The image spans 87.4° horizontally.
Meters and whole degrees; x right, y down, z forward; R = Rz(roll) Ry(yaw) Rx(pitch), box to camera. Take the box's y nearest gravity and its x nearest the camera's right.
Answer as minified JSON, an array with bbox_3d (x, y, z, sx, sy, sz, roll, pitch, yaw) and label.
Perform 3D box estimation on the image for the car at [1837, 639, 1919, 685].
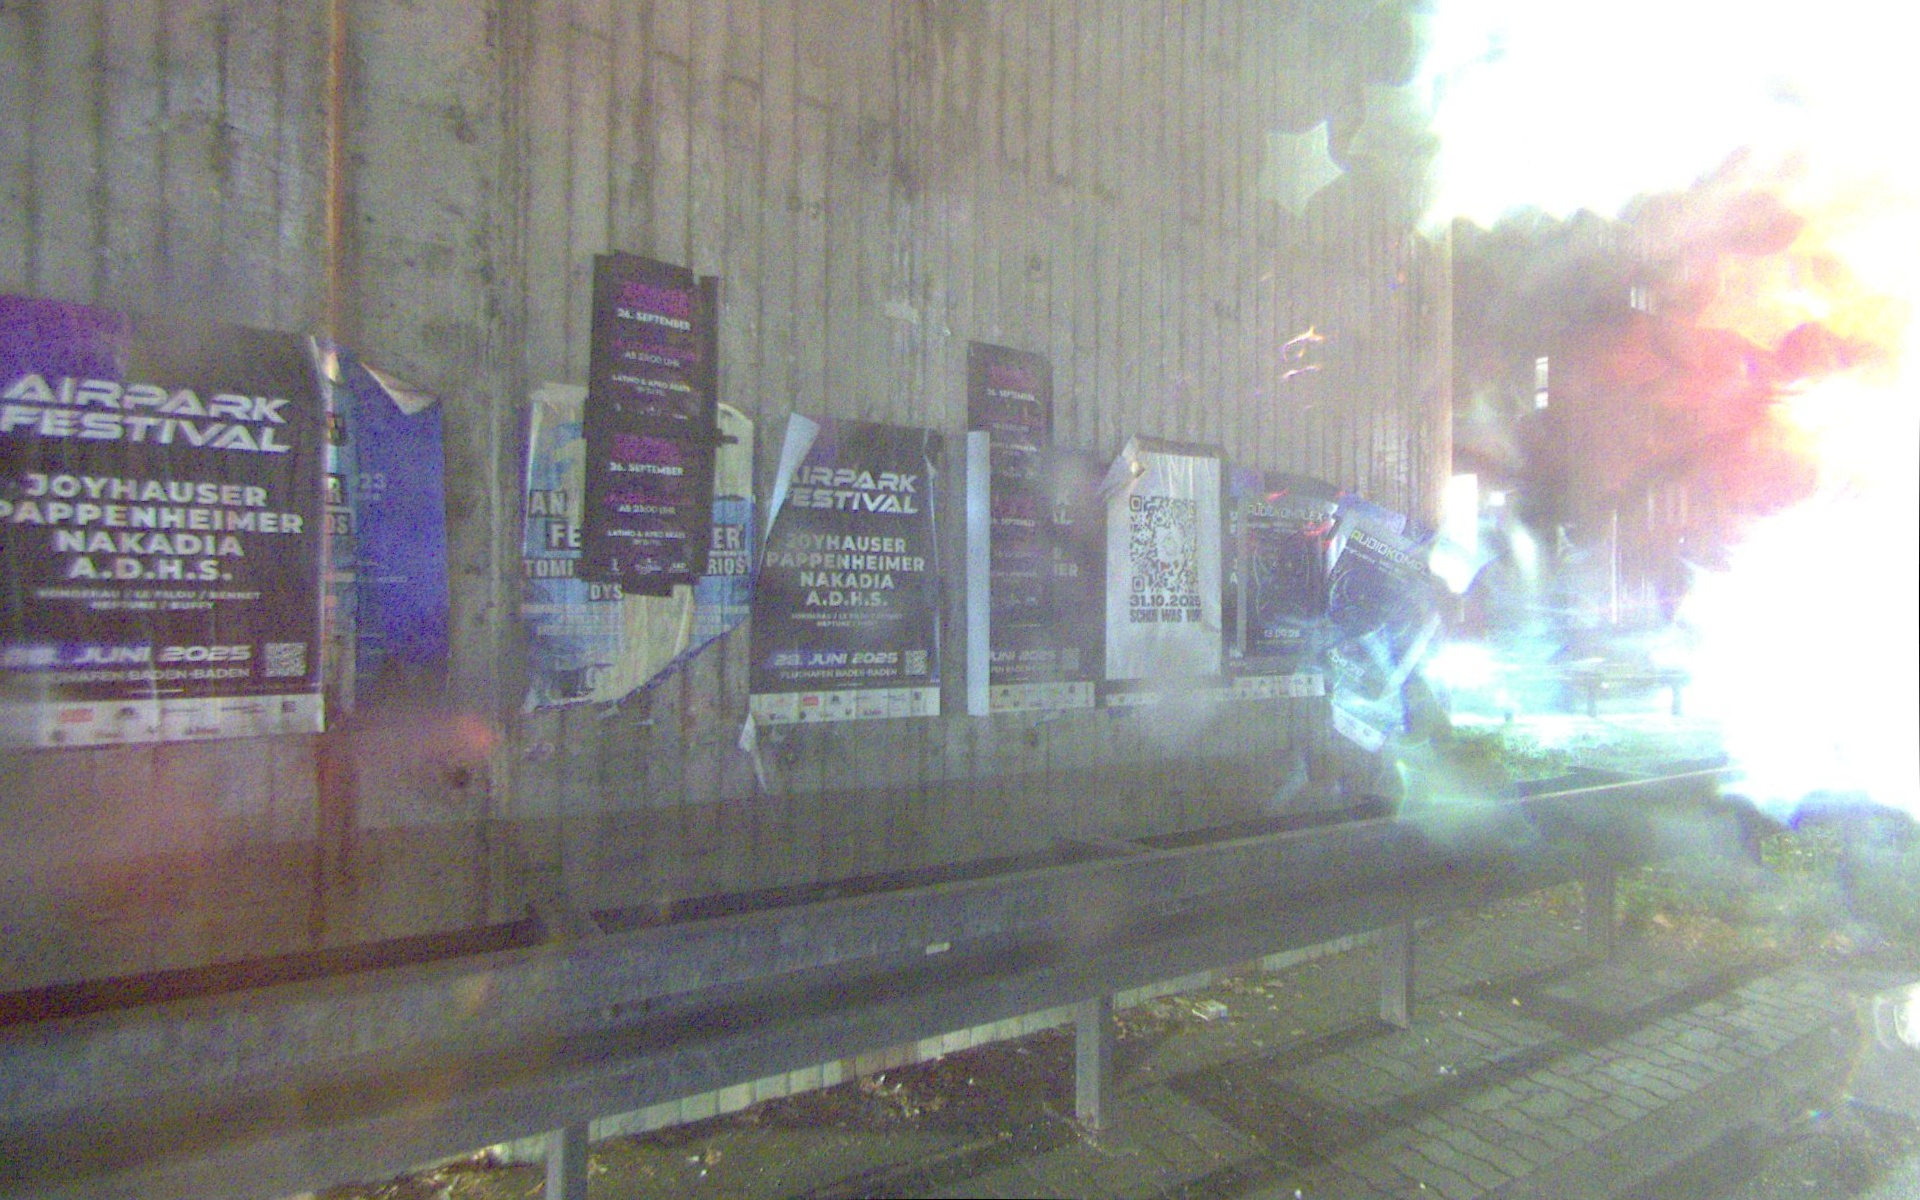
[{"bbox_3d":[33.053,2.179,35.612,3.953,1.483,1.816,2,-1,-30],"label":"car"}]

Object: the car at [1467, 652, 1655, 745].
[{"bbox_3d":[11.423,1.789,19.056,3.530,1.536,1.688,2,-1,-33],"label":"car"}]
